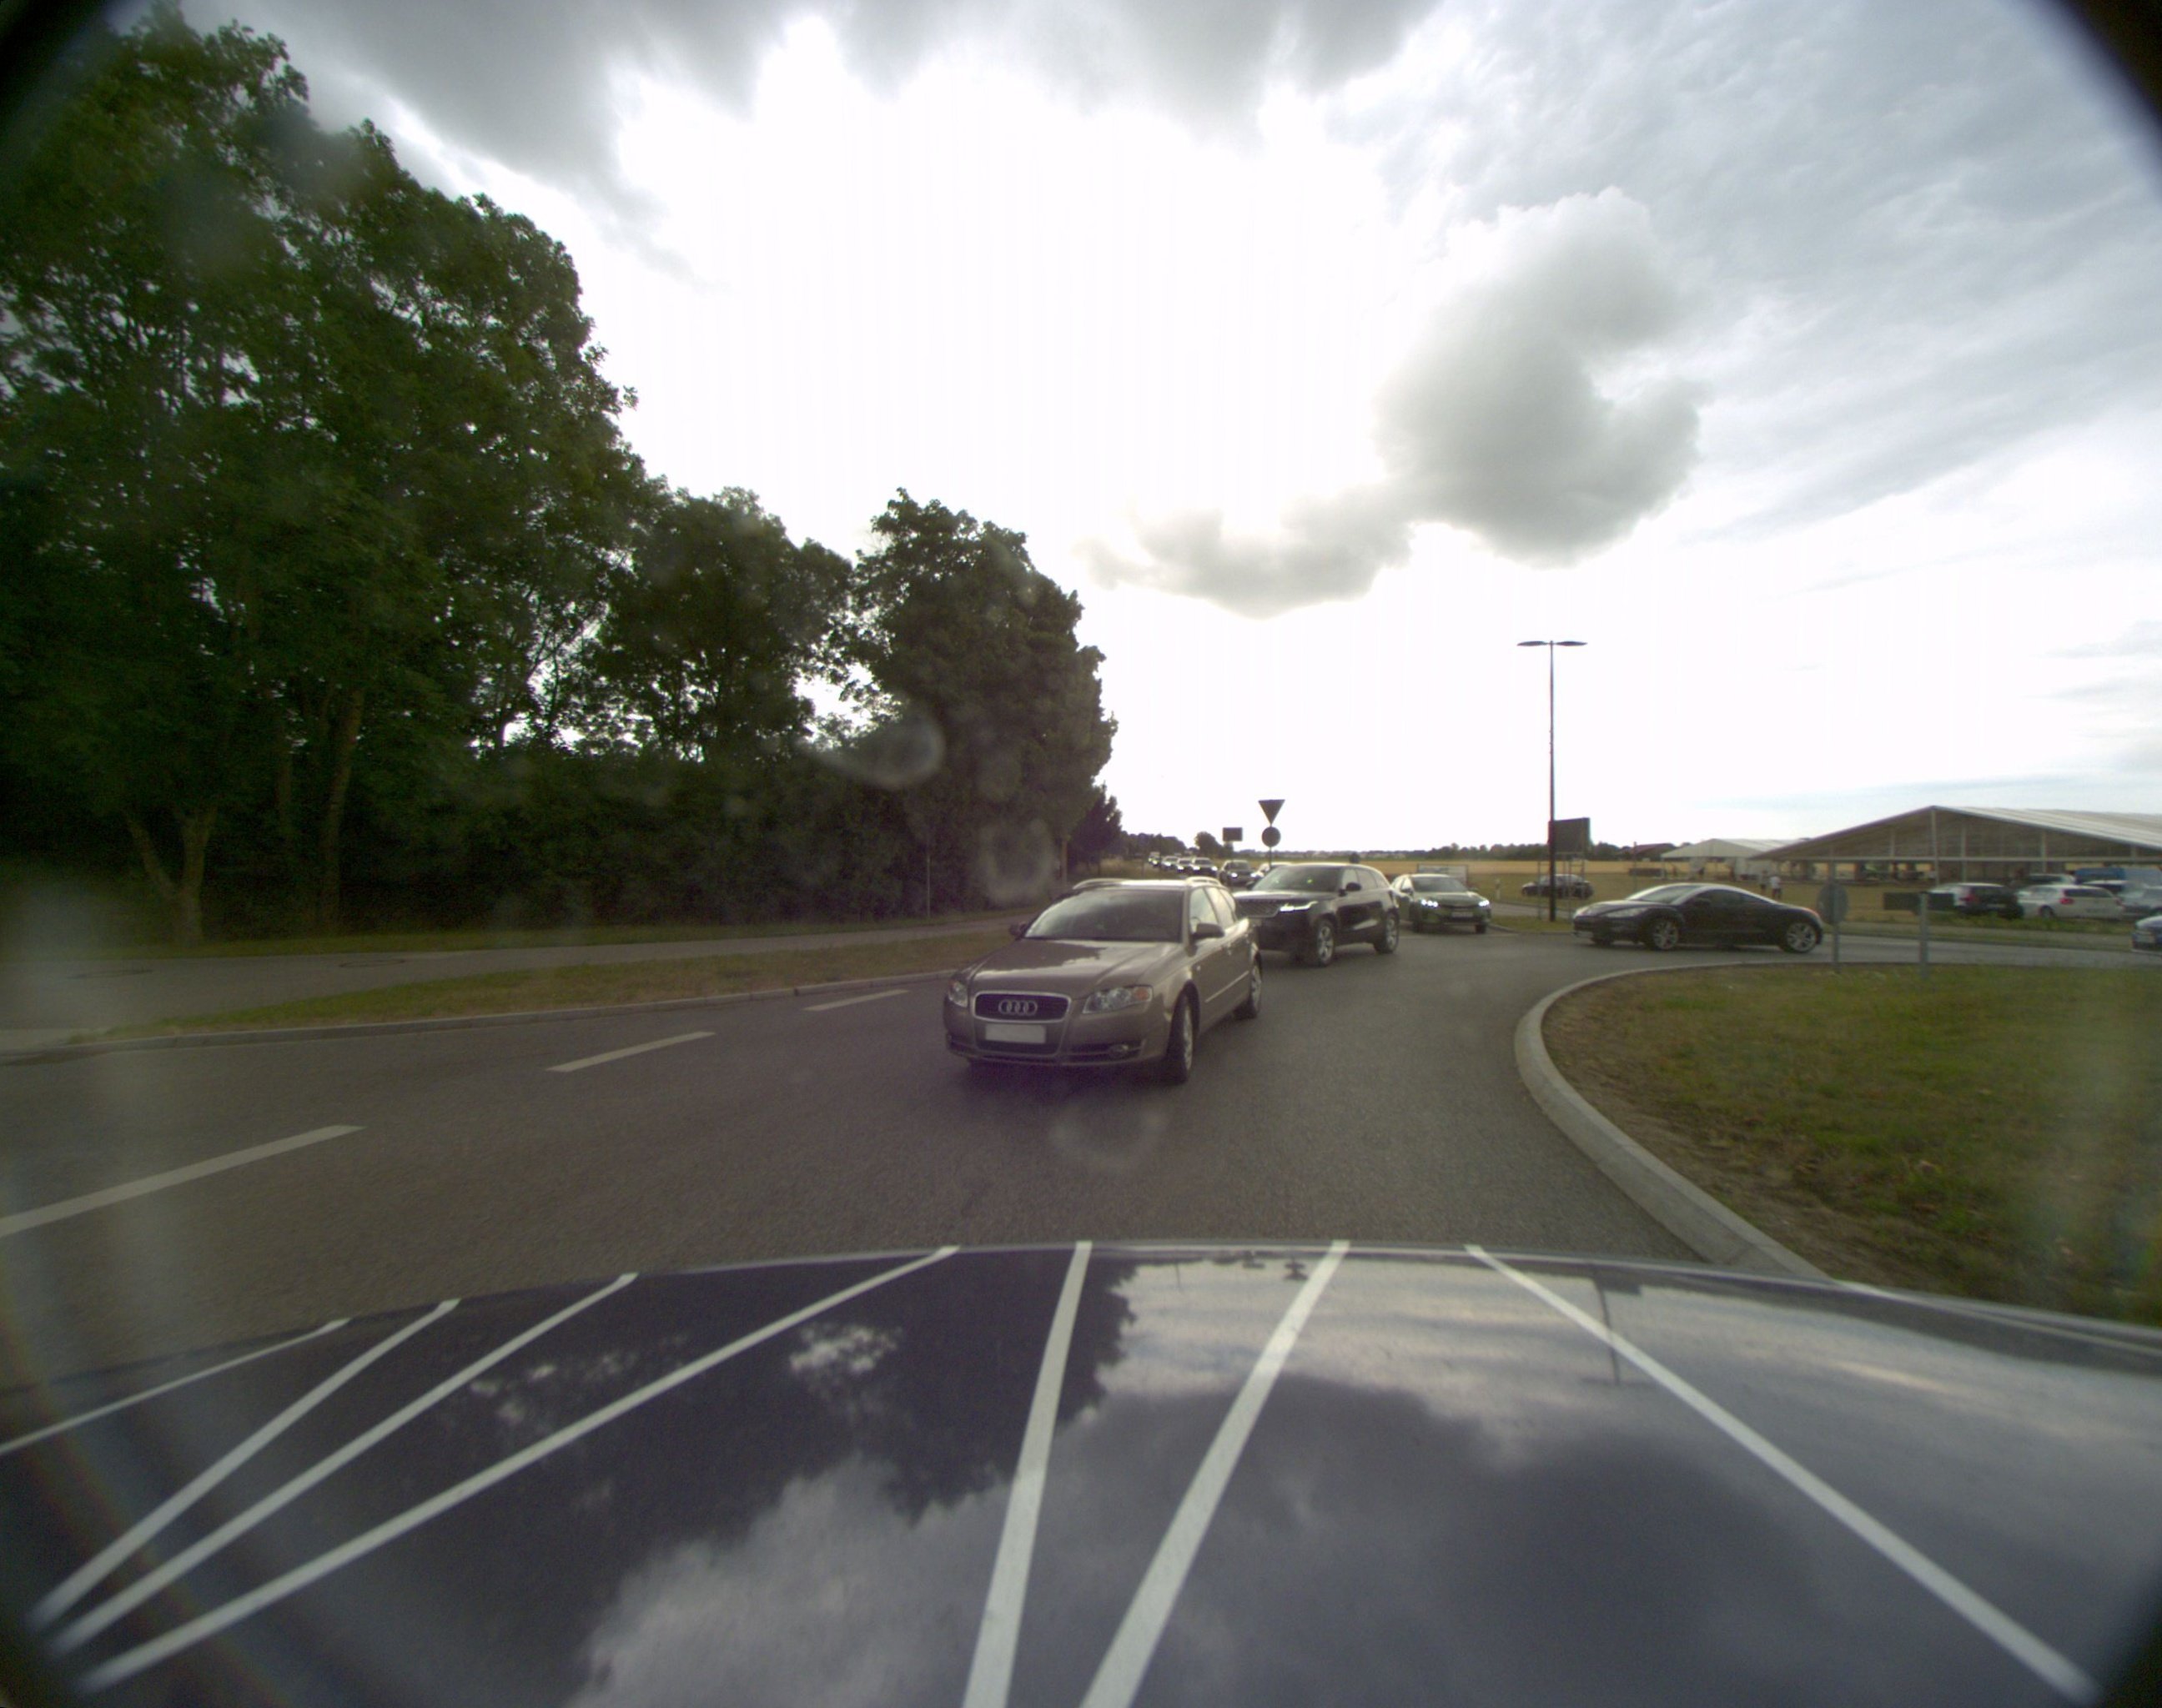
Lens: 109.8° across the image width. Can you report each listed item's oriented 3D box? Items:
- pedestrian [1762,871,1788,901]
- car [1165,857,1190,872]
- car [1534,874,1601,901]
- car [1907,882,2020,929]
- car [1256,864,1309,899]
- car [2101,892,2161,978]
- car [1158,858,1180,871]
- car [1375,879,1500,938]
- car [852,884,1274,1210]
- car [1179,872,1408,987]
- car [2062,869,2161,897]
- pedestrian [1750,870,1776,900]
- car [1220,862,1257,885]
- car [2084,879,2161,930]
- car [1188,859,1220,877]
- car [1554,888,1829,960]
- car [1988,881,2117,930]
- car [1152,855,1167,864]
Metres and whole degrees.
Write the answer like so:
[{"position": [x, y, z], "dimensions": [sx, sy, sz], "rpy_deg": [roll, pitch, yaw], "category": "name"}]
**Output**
[{"position": [44.844, 2.046, 49.109], "dimensions": [0.953, 1.889, 0.849], "rpy_deg": [0, 1, 8], "category": "pedestrian"}, {"position": [9.221, 0.957, 72.733], "dimensions": [1.781, 1.310, 3.809], "rpy_deg": [0, 1, -1], "category": "car"}, {"position": [27.084, 1.839, 42.430], "dimensions": [1.779, 1.310, 3.813], "rpy_deg": [0, 1, 10], "category": "car"}, {"position": [35.405, 2.015, 30.624], "dimensions": [1.712, 1.544, 4.007], "rpy_deg": [-2, 1, 30], "category": "car"}, {"position": [9.602, 1.261, 36.459], "dimensions": [1.780, 1.490, 3.811], "rpy_deg": [0, 1, 4], "category": "car"}, {"position": [20.945, 1.459, 12.817], "dimensions": [4.070, 1.422, 1.766], "rpy_deg": [1, 1, 33], "category": "car"}, {"position": [9.624, 1.142, 83.287], "dimensions": [1.781, 1.310, 3.809], "rpy_deg": [0, 1, -1], "category": "car"}, {"position": [9.610, 1.416, 20.840], "dimensions": [1.839, 1.449, 4.139], "rpy_deg": [0, -2, 6], "category": "car"}, {"position": [0.330, 1.089, 6.346], "dimensions": [1.779, 1.456, 4.548], "rpy_deg": [1, 1, 23], "category": "car"}, {"position": [3.864, 1.144, 13.266], "dimensions": [1.994, 1.564, 4.597], "rpy_deg": [-1, -1, 42], "category": "car"}, {"position": [57.410, 1.587, 42.329], "dimensions": [4.002, 1.434, 1.949], "rpy_deg": [0, 1, -14], "category": "car"}, {"position": [44.963, 2.030, 50.075], "dimensions": [0.953, 1.889, 0.849], "rpy_deg": [0, 1, 8], "category": "pedestrian"}, {"position": [9.966, 1.201, 48.288], "dimensions": [1.780, 1.310, 3.811], "rpy_deg": [0, 1, 4], "category": "car"}, {"position": [40.252, 1.852, 28.529], "dimensions": [1.712, 1.544, 4.007], "rpy_deg": [-2, 1, 30], "category": "car"}, {"position": [9.674, 1.082, 59.922], "dimensions": [1.781, 1.310, 3.809], "rpy_deg": [0, 1, -1], "category": "car"}, {"position": [12.238, 1.377, 15.439], "dimensions": [4.111, 1.299, 1.831], "rpy_deg": [0, -1, 1], "category": "car"}, {"position": [37.580, 1.943, 29.532], "dimensions": [1.712, 1.544, 4.007], "rpy_deg": [-2, 1, 30], "category": "car"}, {"position": [11.344, 0.776, 110.186], "dimensions": [1.781, 1.310, 3.809], "rpy_deg": [0, 1, -1], "category": "car"}]
